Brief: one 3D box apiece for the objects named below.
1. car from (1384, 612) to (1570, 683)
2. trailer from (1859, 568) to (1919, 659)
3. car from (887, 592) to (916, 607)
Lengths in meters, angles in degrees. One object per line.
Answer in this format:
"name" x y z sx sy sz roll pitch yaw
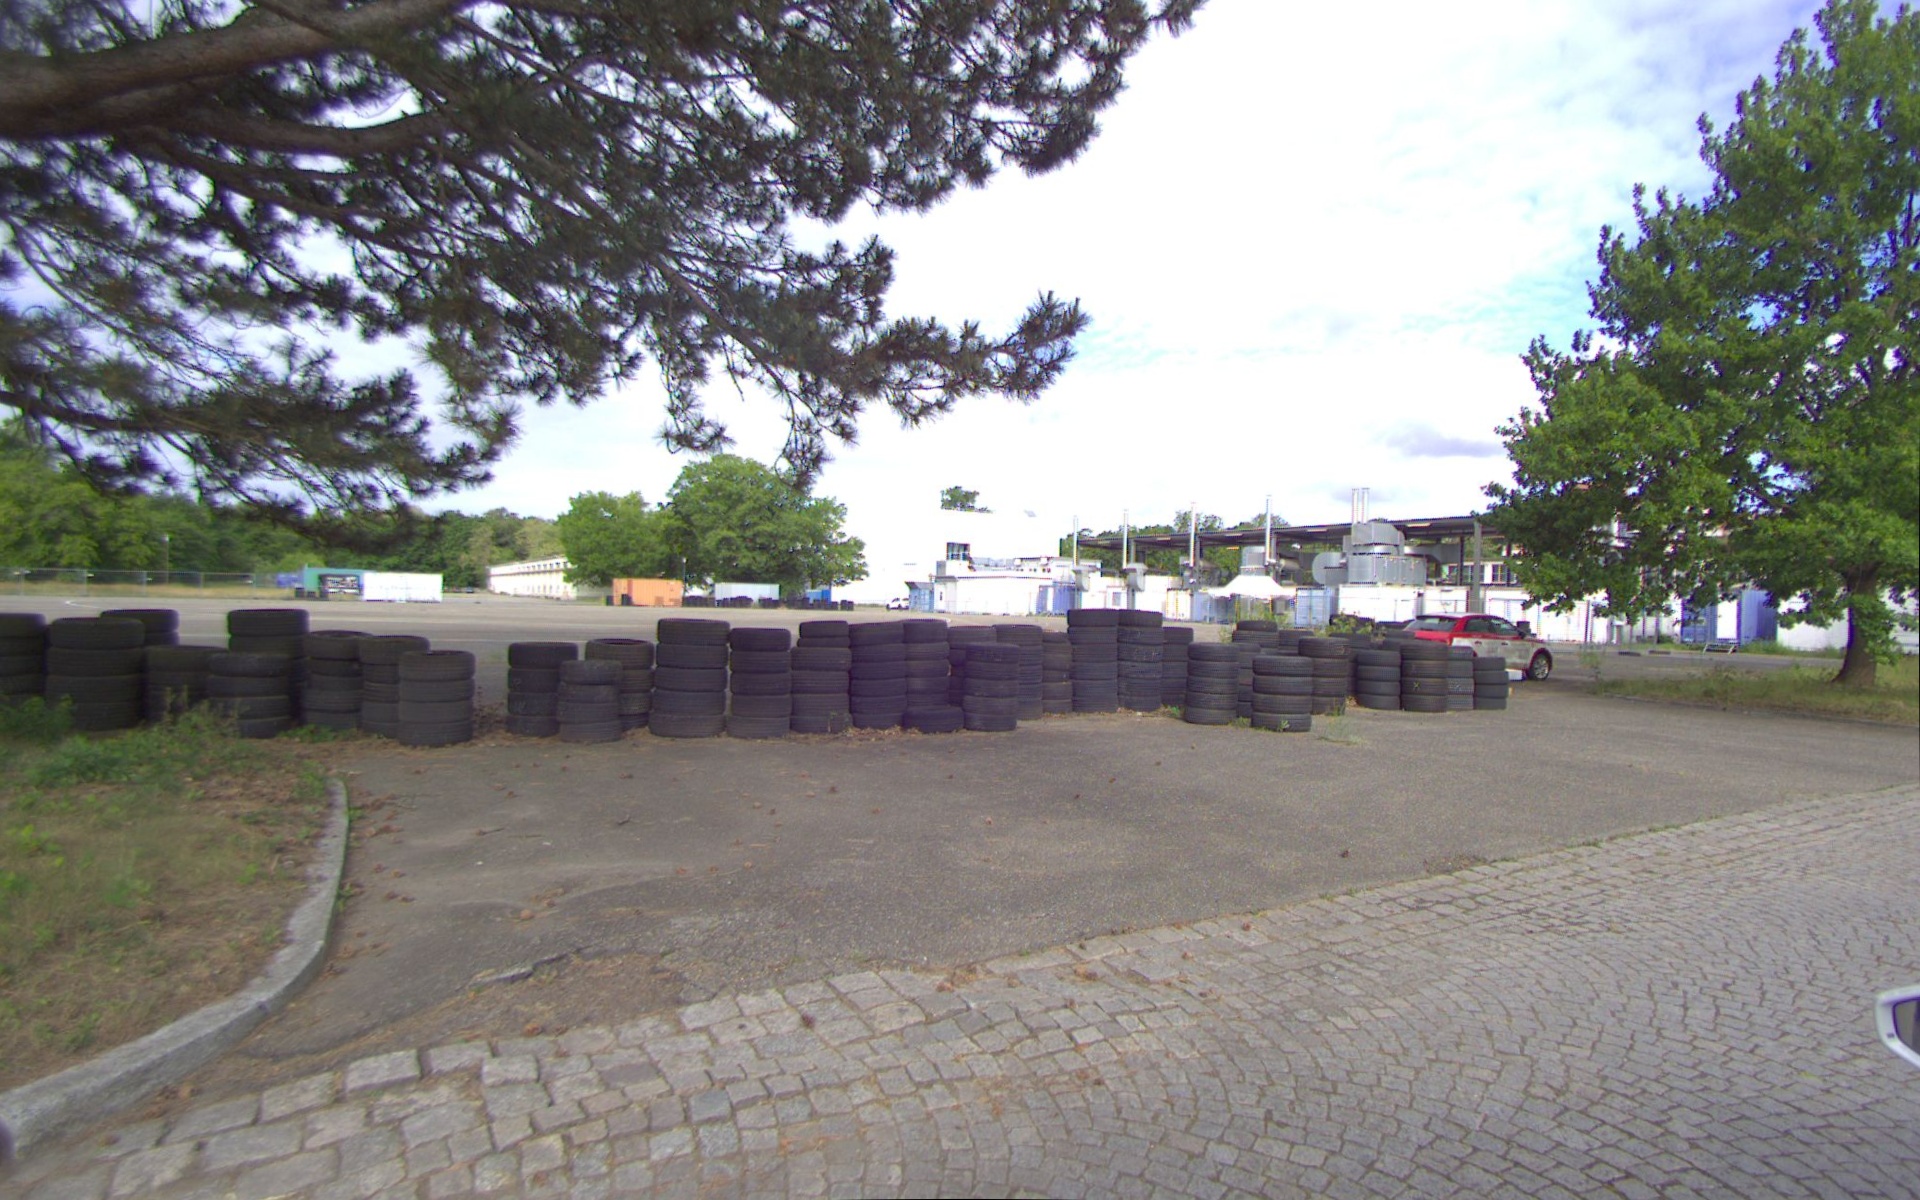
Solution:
"car" 11.620 1.030 22.563 4.009 1.453 1.620 1 0 -26
"trailer" 42.901 0.649 43.576 10.053 3.646 2.614 2 0 -29
"car" -6.838 -0.090 116.739 1.809 1.655 4.086 1 0 -29
